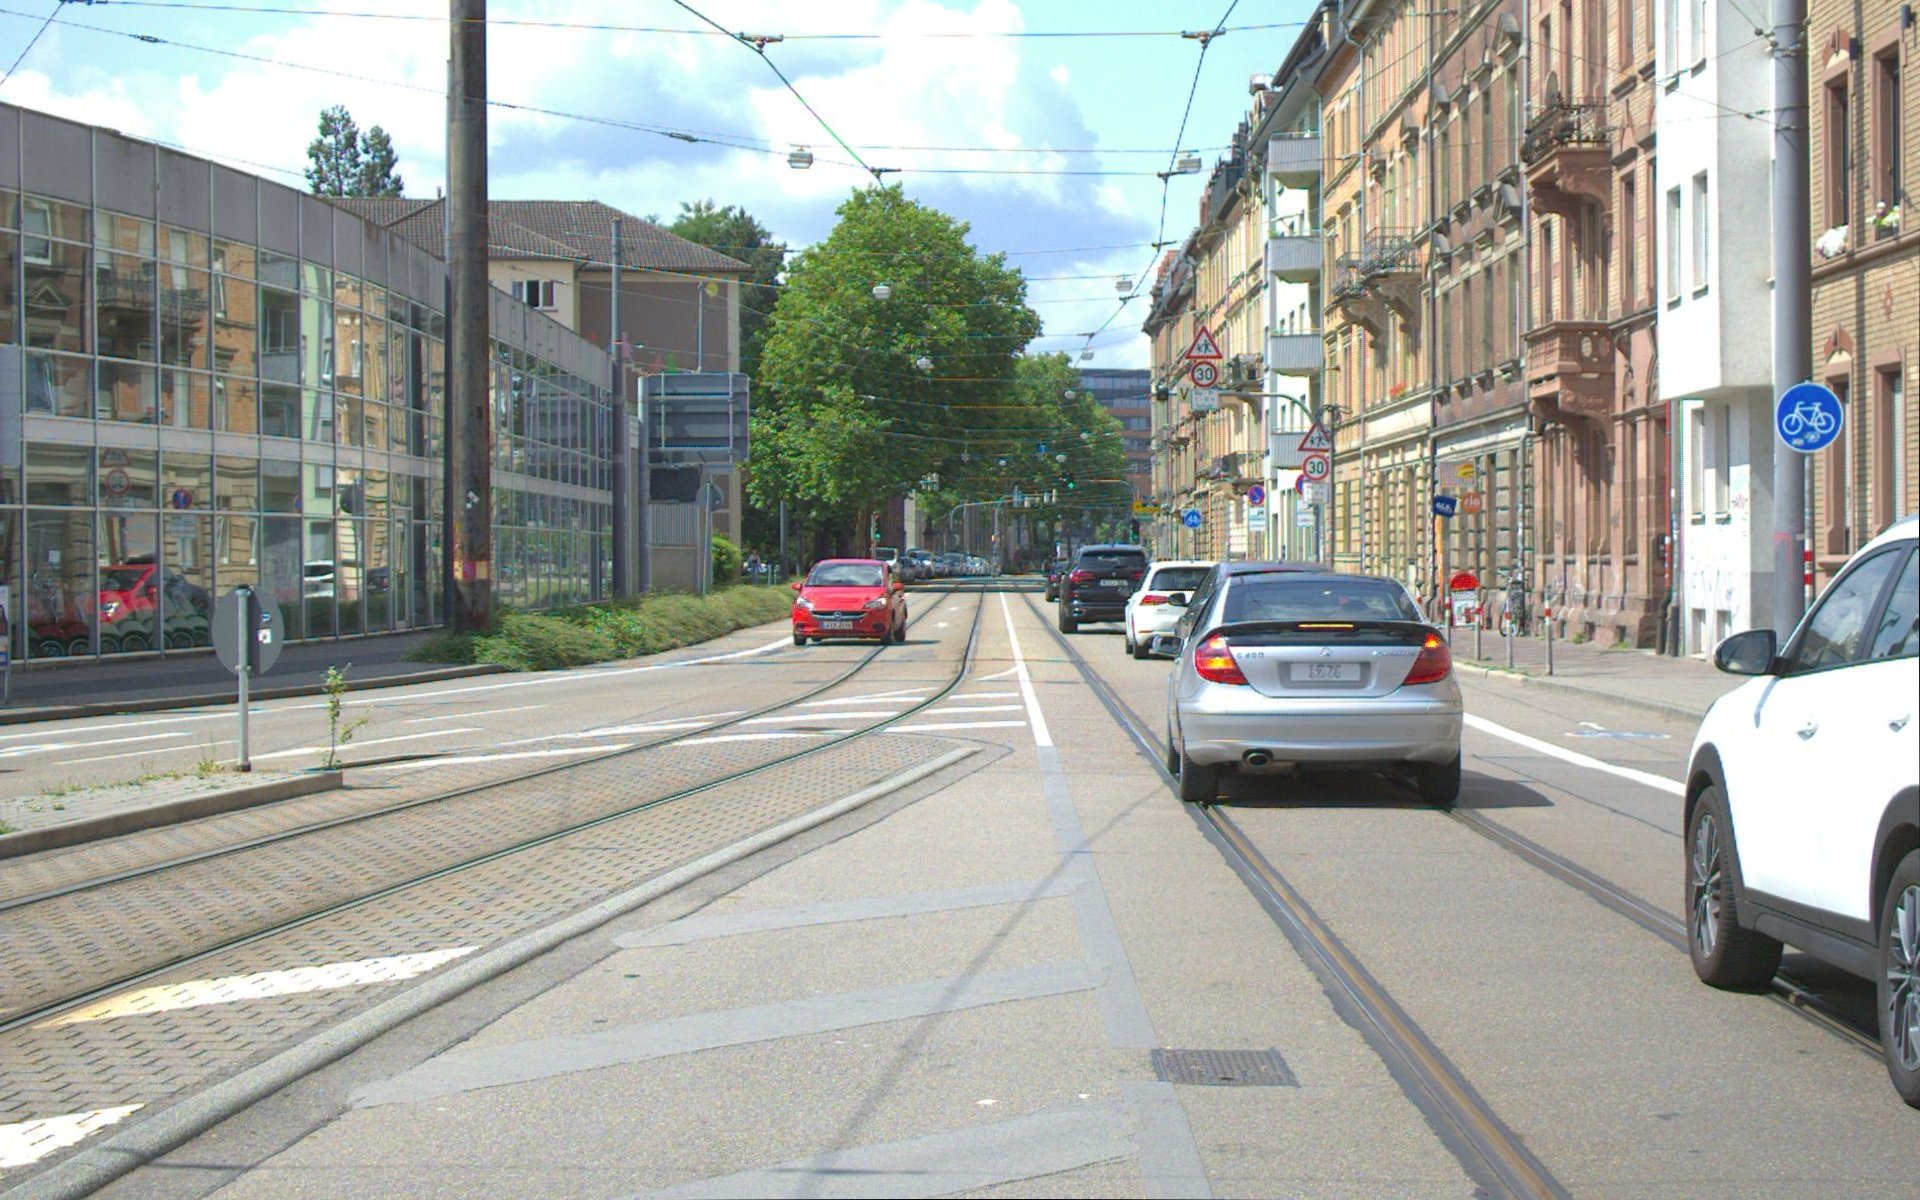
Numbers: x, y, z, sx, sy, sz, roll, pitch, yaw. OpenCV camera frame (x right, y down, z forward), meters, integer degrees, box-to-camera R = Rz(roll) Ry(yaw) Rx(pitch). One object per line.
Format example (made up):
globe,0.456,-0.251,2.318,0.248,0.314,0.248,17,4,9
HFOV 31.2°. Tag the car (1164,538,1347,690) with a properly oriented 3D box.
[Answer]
car,3.141,0.109,37.154,1.814,1.519,4.085,0,1,3

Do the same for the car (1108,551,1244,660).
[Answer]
car,3.202,0.055,51.549,1.814,1.519,3.956,0,1,1

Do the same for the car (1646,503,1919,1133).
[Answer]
car,3.421,0.548,10.395,1.852,1.628,4.181,1,1,0

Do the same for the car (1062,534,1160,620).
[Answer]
car,2.989,-0.474,68.845,1.814,1.656,4.085,0,1,1

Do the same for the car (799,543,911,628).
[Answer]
car,-1.782,-0.270,59.227,1.702,1.423,3.902,0,1,2

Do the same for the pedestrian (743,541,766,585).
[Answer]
pedestrian,-8.977,-1.614,149.969,0.880,1.859,1.081,-1,1,1

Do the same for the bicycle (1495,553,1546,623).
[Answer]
bicycle,9.766,-0.217,59.969,0.586,1.174,2.205,-1,1,2

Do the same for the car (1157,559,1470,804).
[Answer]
car,2.190,0.448,22.126,1.815,1.415,4.187,0,1,4

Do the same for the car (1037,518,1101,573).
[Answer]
car,3.699,-1.862,117.152,1.993,1.853,4.000,0,1,-1
